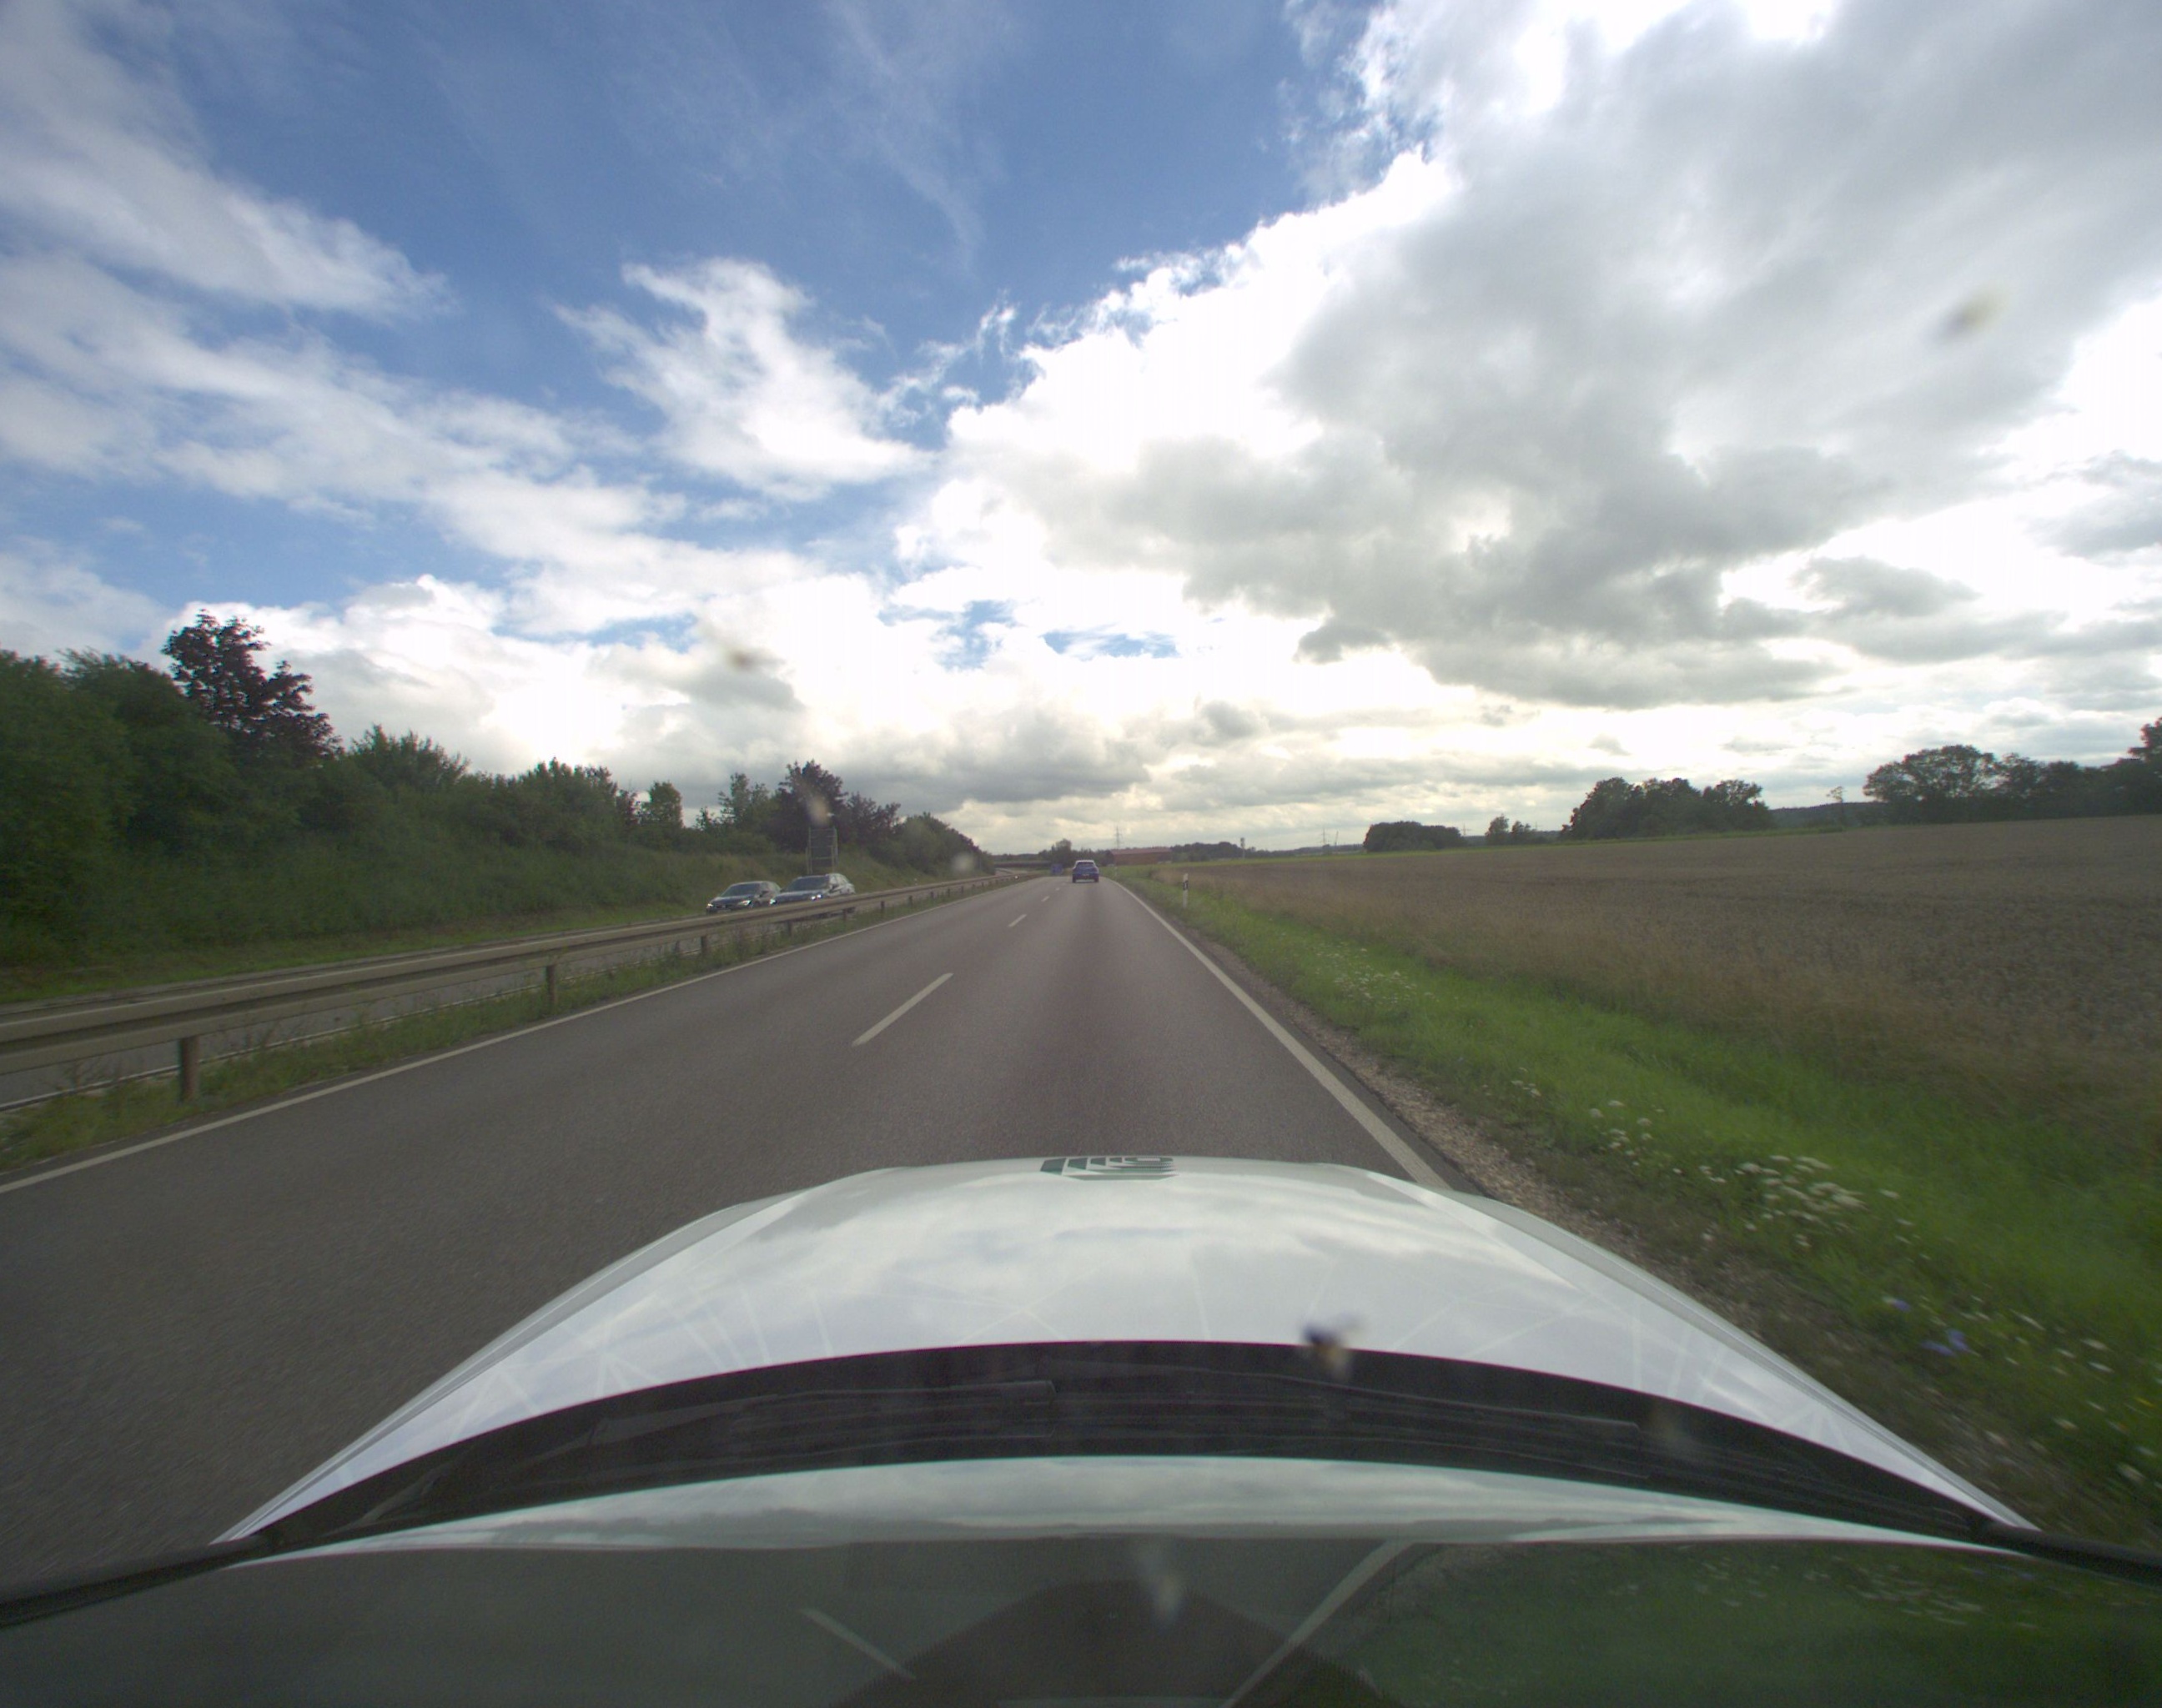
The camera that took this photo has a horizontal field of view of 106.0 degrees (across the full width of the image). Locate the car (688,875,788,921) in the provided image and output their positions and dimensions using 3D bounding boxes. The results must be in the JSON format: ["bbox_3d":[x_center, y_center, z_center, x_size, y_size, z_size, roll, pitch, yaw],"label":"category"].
[{"bbox_3d":[-12.497,1.561,29.996,1.685,1.324,4.418,-3,0,1],"label":"car"}]

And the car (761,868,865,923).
[{"bbox_3d":[-8.764,1.303,27.042,1.748,1.486,4.578,-3,0,1],"label":"car"}]

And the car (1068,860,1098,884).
[{"bbox_3d":[0.184,1.295,60.165,2.026,1.660,4.544,-2,0,1],"label":"car"}]
